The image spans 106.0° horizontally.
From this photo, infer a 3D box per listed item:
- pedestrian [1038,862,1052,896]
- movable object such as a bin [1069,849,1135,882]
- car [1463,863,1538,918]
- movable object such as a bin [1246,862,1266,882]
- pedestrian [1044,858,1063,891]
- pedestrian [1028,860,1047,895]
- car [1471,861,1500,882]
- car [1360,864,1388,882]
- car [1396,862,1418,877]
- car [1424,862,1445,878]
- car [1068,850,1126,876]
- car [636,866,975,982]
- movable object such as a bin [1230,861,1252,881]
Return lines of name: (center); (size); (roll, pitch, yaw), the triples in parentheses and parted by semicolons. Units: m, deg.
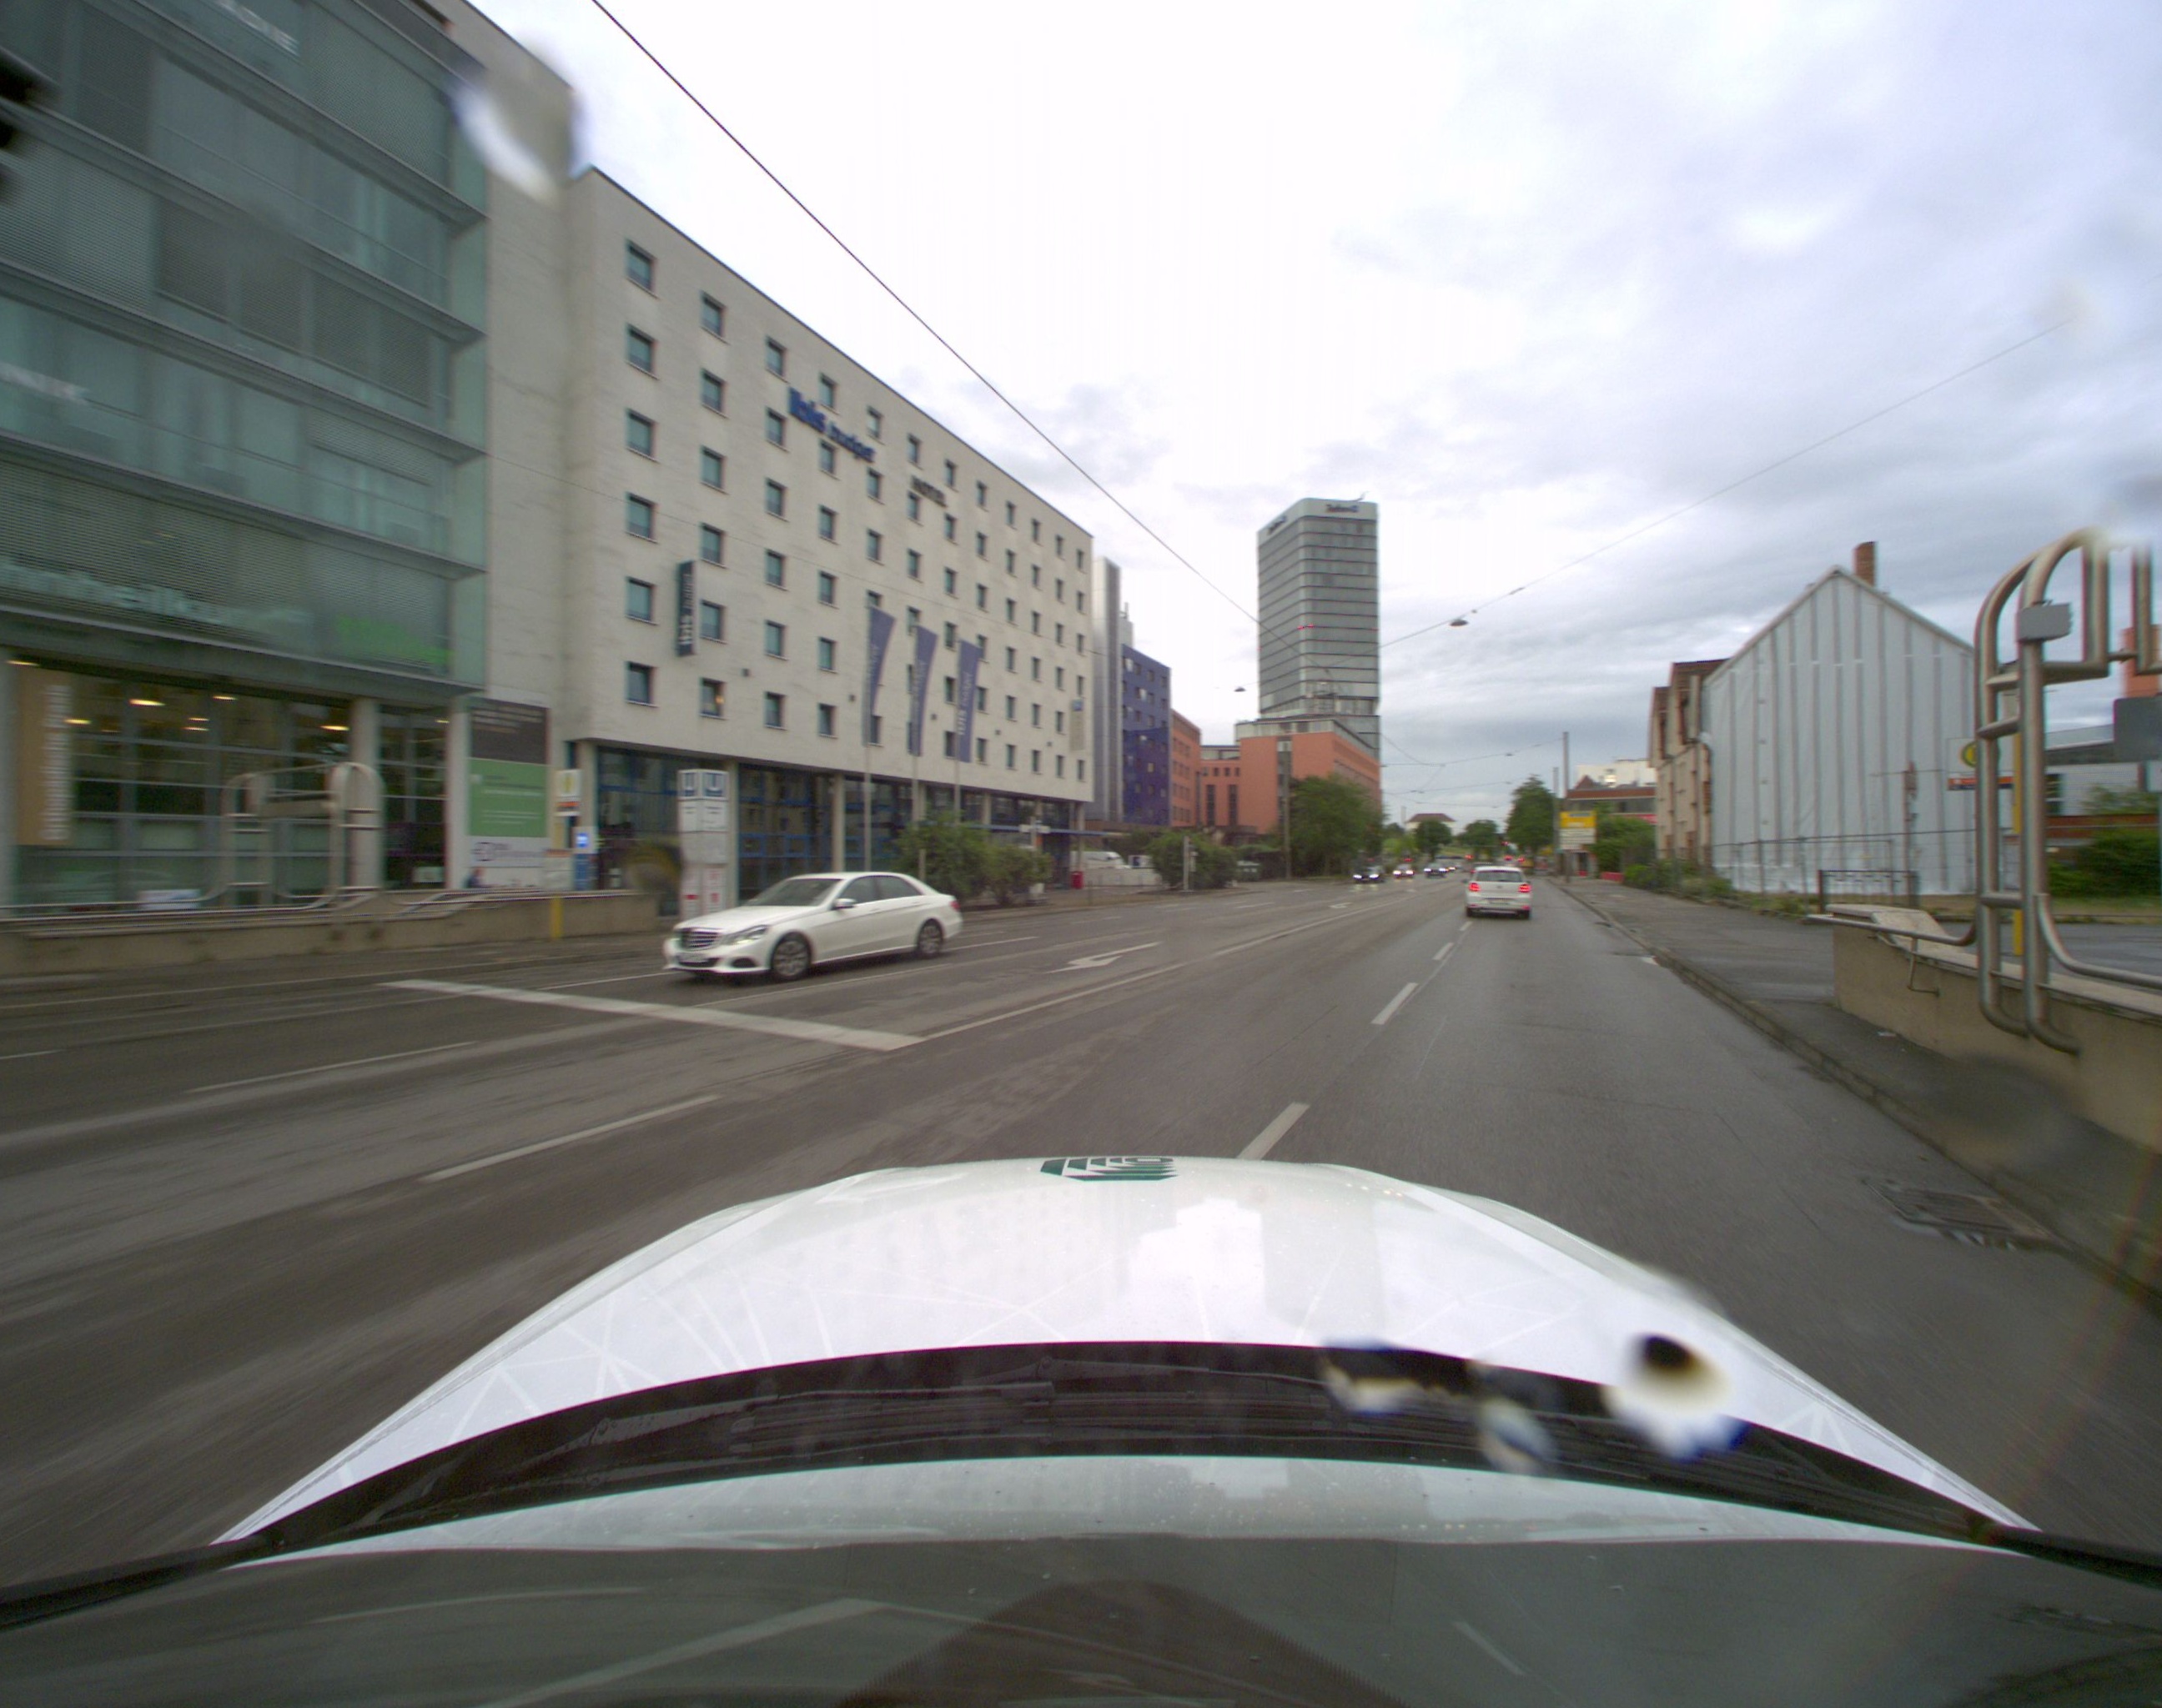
pedestrian: (-2.194, 1.538, 49.436); (0.810, 2.014, 0.804); (-1, -4, 1)
movable object such as a bin: (1.867, 1.086, 73.410); (5.572, 2.629, 2.174); (-3, -4, 28)
car: (12.235, 1.015, 23.917); (1.656, 1.474, 3.799); (0, -1, 23)
movable object such as a bin: (13.695, 1.409, 63.621); (1.379, 1.491, 0.956); (-2, -4, 19)
pedestrian: (-1.716, 1.294, 50.462); (0.904, 2.014, 0.807); (2, -4, -32)
pedestrian: (-2.578, 1.390, 48.177); (0.794, 2.014, 0.820); (-3, -4, 29)
car: (31.849, 1.369, 64.094); (1.975, 1.574, 4.024); (0, -1, 28)
car: (24.389, 1.556, 67.733); (1.717, 1.477, 4.725); (-1, -1, 25)
car: (36.212, 1.689, 90.462); (1.692, 1.566, 4.058); (-3, -1, 29)
car: (39.489, 1.767, 90.862); (1.739, 1.556, 4.477); (-3, -1, 28)
car: (1.369, 0.851, 71.213); (4.668, 2.014, 1.904); (-3, -4, 28)
car: (-3.797, 0.888, 12.348); (1.800, 1.387, 4.992); (-1, -1, 28)
movable object such as a bin: (12.642, 1.356, 64.448); (1.376, 1.491, 0.957); (-4, -5, 39)
